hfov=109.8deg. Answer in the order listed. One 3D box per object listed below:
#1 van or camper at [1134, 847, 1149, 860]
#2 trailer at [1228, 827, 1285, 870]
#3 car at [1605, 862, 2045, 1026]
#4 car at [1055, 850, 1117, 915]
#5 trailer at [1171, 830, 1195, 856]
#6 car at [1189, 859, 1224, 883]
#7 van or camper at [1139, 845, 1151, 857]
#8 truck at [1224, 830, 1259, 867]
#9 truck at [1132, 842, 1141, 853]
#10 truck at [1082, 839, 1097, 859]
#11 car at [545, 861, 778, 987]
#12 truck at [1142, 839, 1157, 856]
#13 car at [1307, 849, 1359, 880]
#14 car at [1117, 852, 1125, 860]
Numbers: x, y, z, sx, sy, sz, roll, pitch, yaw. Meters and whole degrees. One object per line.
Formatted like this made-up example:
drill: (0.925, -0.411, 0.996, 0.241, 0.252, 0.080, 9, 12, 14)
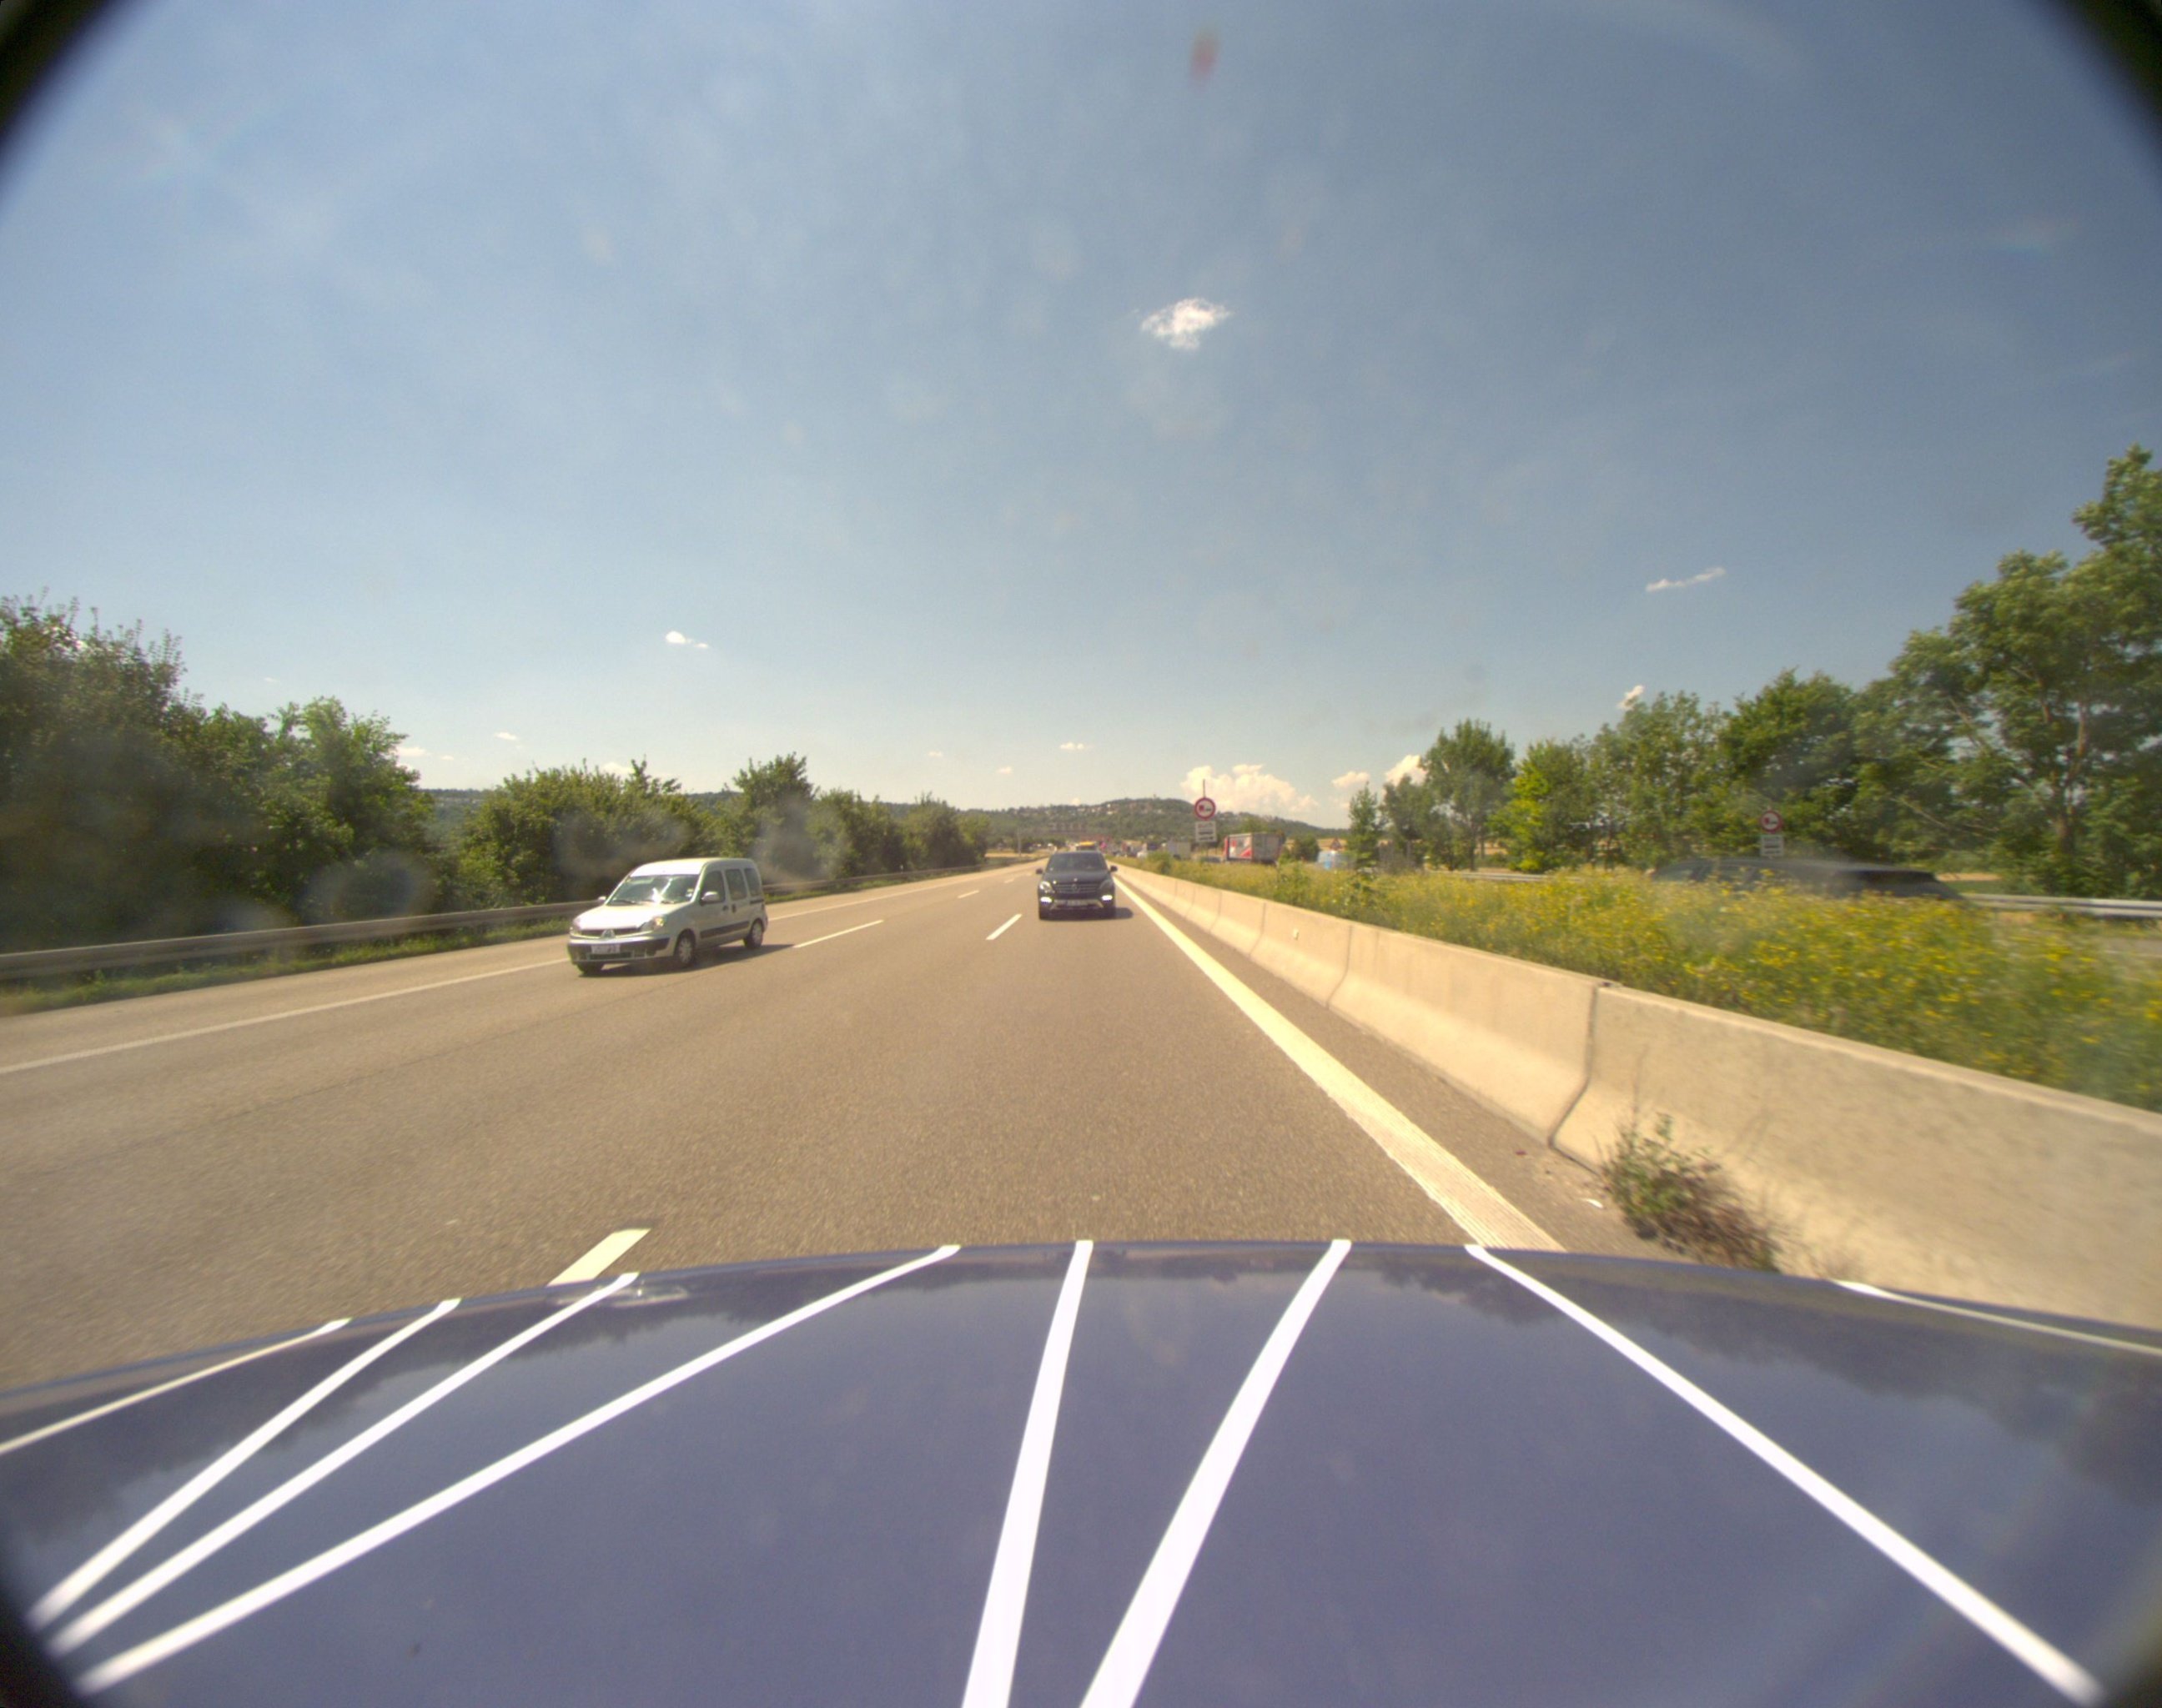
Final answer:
van or camper: (9.298, -0.068, 116.999, 1.998, 1.922, 5.201, -1, 0, 0)
trailer: (16.926, -0.510, 74.378, 2.863, 3.833, 12.185, 0, 0, 1)
car: (8.334, 0.870, 9.063, 1.543, 1.478, 3.773, -1, 0, 0)
car: (0.183, 0.774, 22.519, 1.630, 1.711, 3.865, -1, 0, 1)
trailer: (17.847, -1.911, 133.771, 2.890, 4.325, 13.643, 0, 0, 2)
car: (8.813, 1.186, 53.594, 1.766, 1.541, 4.727, -1, 0, 2)
van or camper: (13.053, -0.588, 155.298, 2.099, 2.261, 5.493, -1, 0, 0)
truck: (16.996, -0.554, 80.601, 2.863, 3.833, 4.000, 0, 1, 1)
truck: (18.486, -2.226, 252.337, 2.706, 3.599, 8.787, 1, 0, 2)
truck: (1.487, -0.913, 128.461, 2.272, 3.139, 8.185, -2, 2, 1)
car: (-6.895, 1.038, 13.036, 1.630, 1.727, 3.972, -2, 0, 1)
truck: (17.770, -1.629, 197.613, 2.599, 4.214, 14.121, 2, 1, 1)
car: (17.051, 0.676, 51.653, 1.766, 1.941, 5.117, 1, 0, 0)
car: (10.712, 0.516, 205.126, 1.998, 1.934, 4.794, -1, 1, 0)
